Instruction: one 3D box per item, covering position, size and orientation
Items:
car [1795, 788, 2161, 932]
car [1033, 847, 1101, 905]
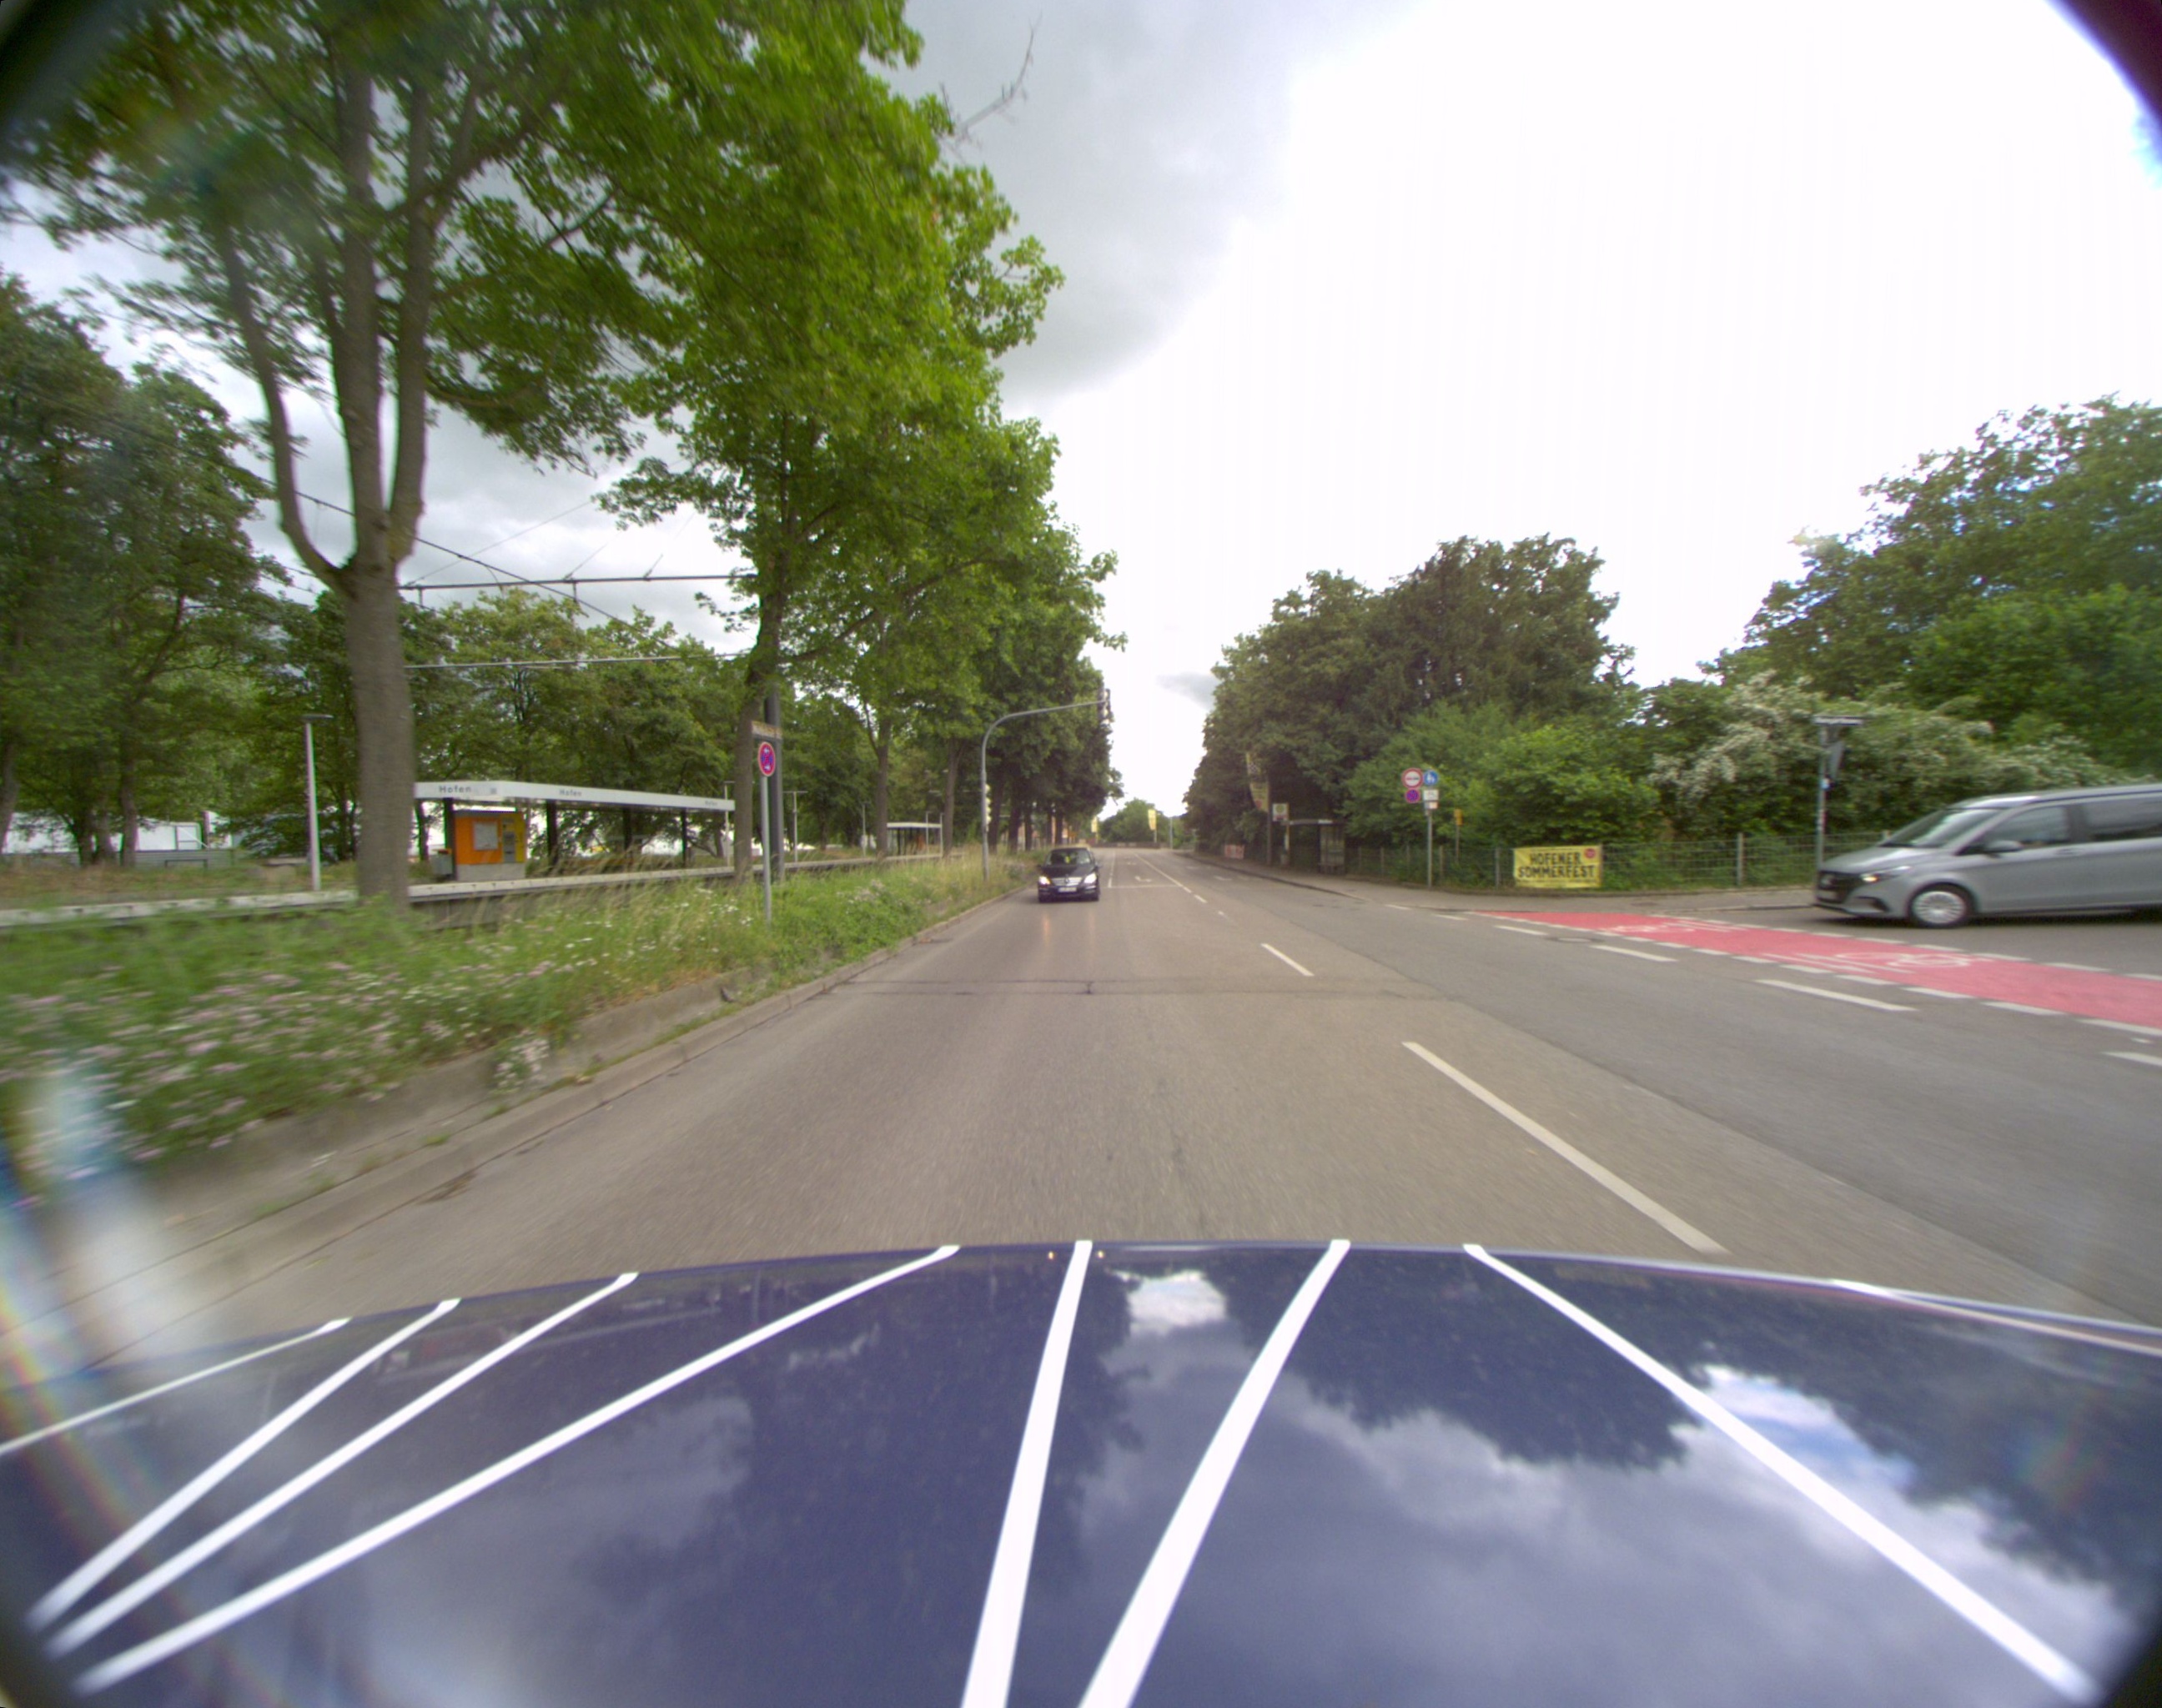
[{"bbox_3d":[14.420,0.062,11.311,5.144,1.917,1.955,-3,1,20],"label":"car"},{"bbox_3d":[-0.328,0.585,23.171,1.751,1.556,4.075,0,2,3],"label":"car"}]
